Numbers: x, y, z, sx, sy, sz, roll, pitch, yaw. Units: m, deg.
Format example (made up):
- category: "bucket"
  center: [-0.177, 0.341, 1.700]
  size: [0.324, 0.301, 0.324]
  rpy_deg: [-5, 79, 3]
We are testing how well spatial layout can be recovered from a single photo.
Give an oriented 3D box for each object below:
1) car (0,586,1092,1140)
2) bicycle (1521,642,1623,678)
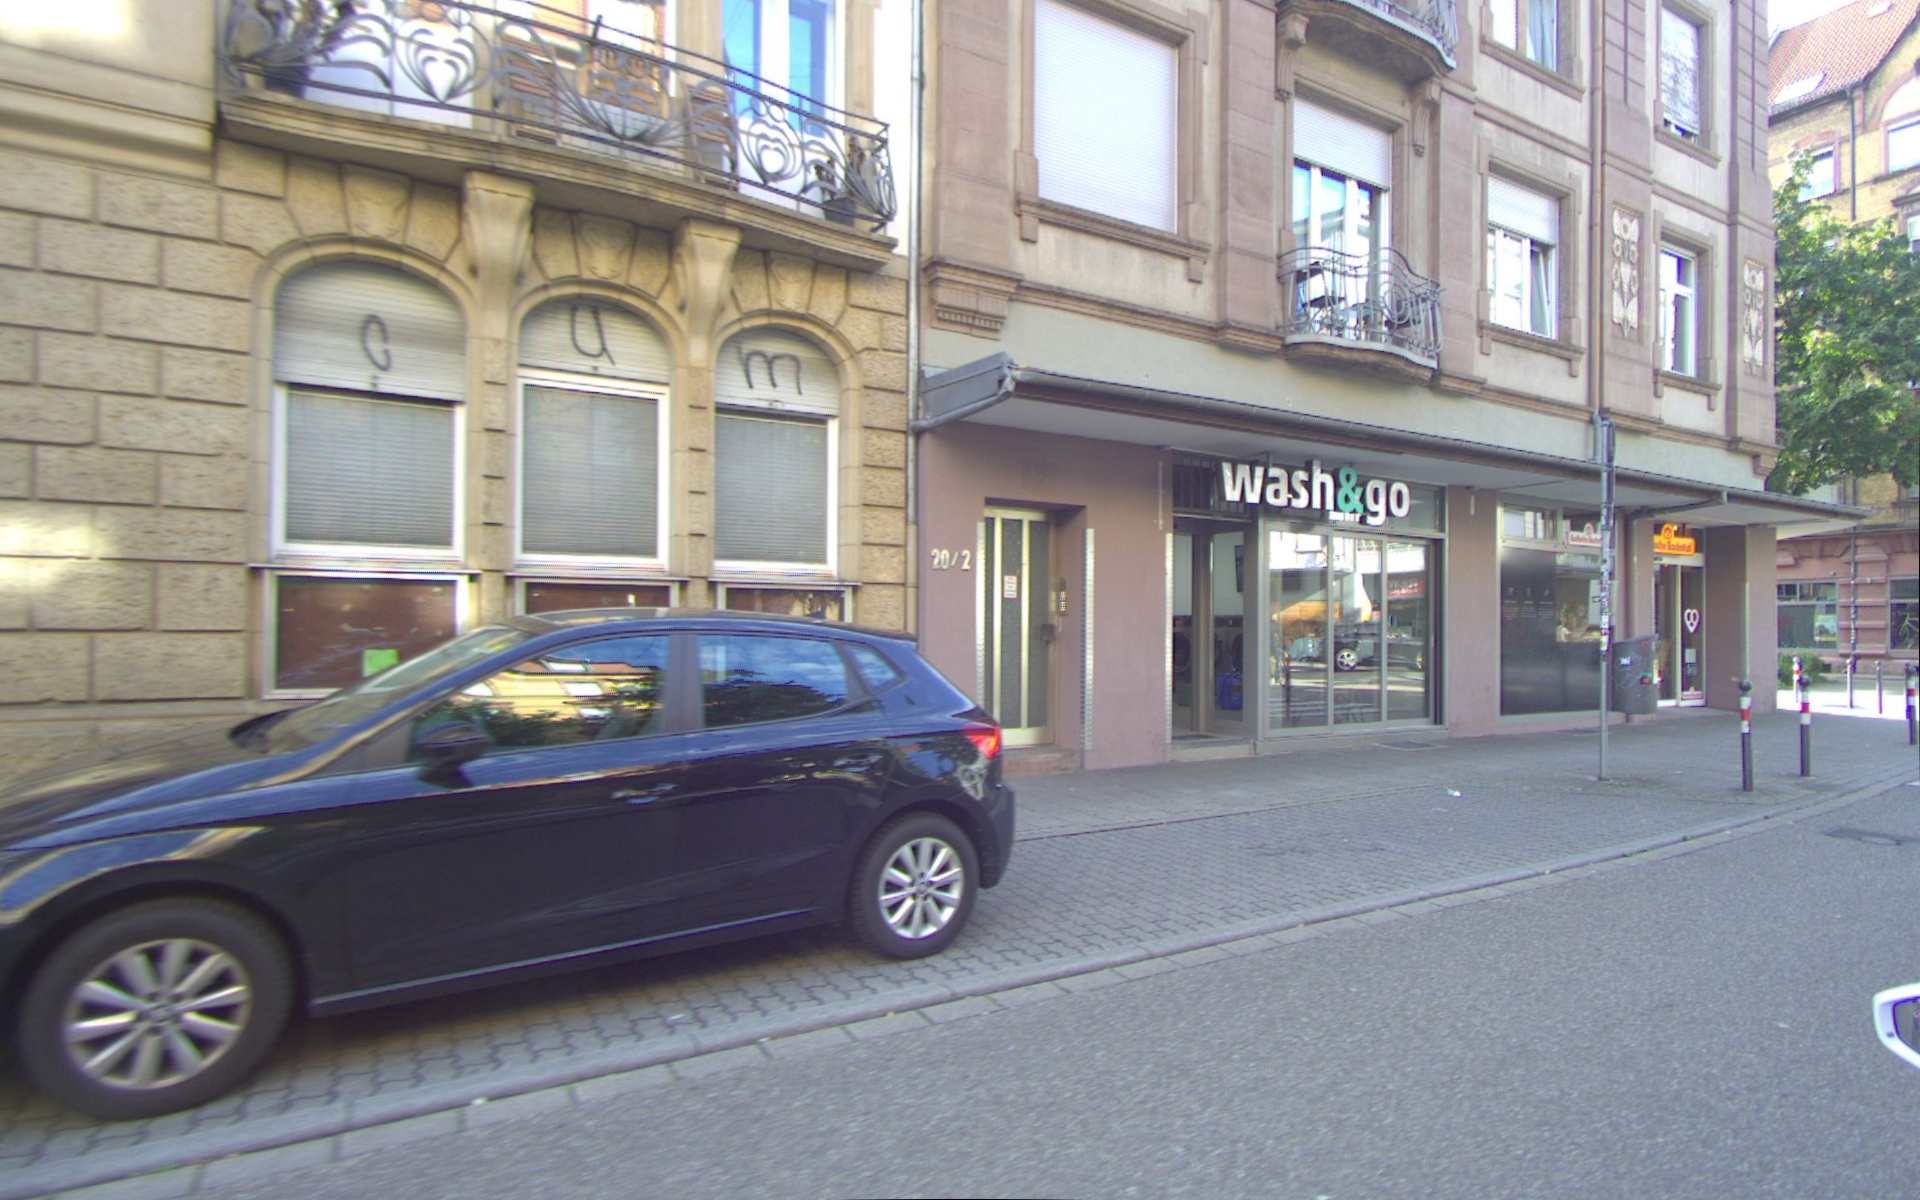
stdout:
- category: "car"
  center: [-1.699, 0.732, 4.265]
  size: [4.196, 1.439, 1.984]
  rpy_deg: [1, -2, -31]
- category: "bicycle"
  center: [20.292, 1.969, 33.375]
  size: [0.718, 1.138, 2.879]
  rpy_deg: [1, -2, -33]
